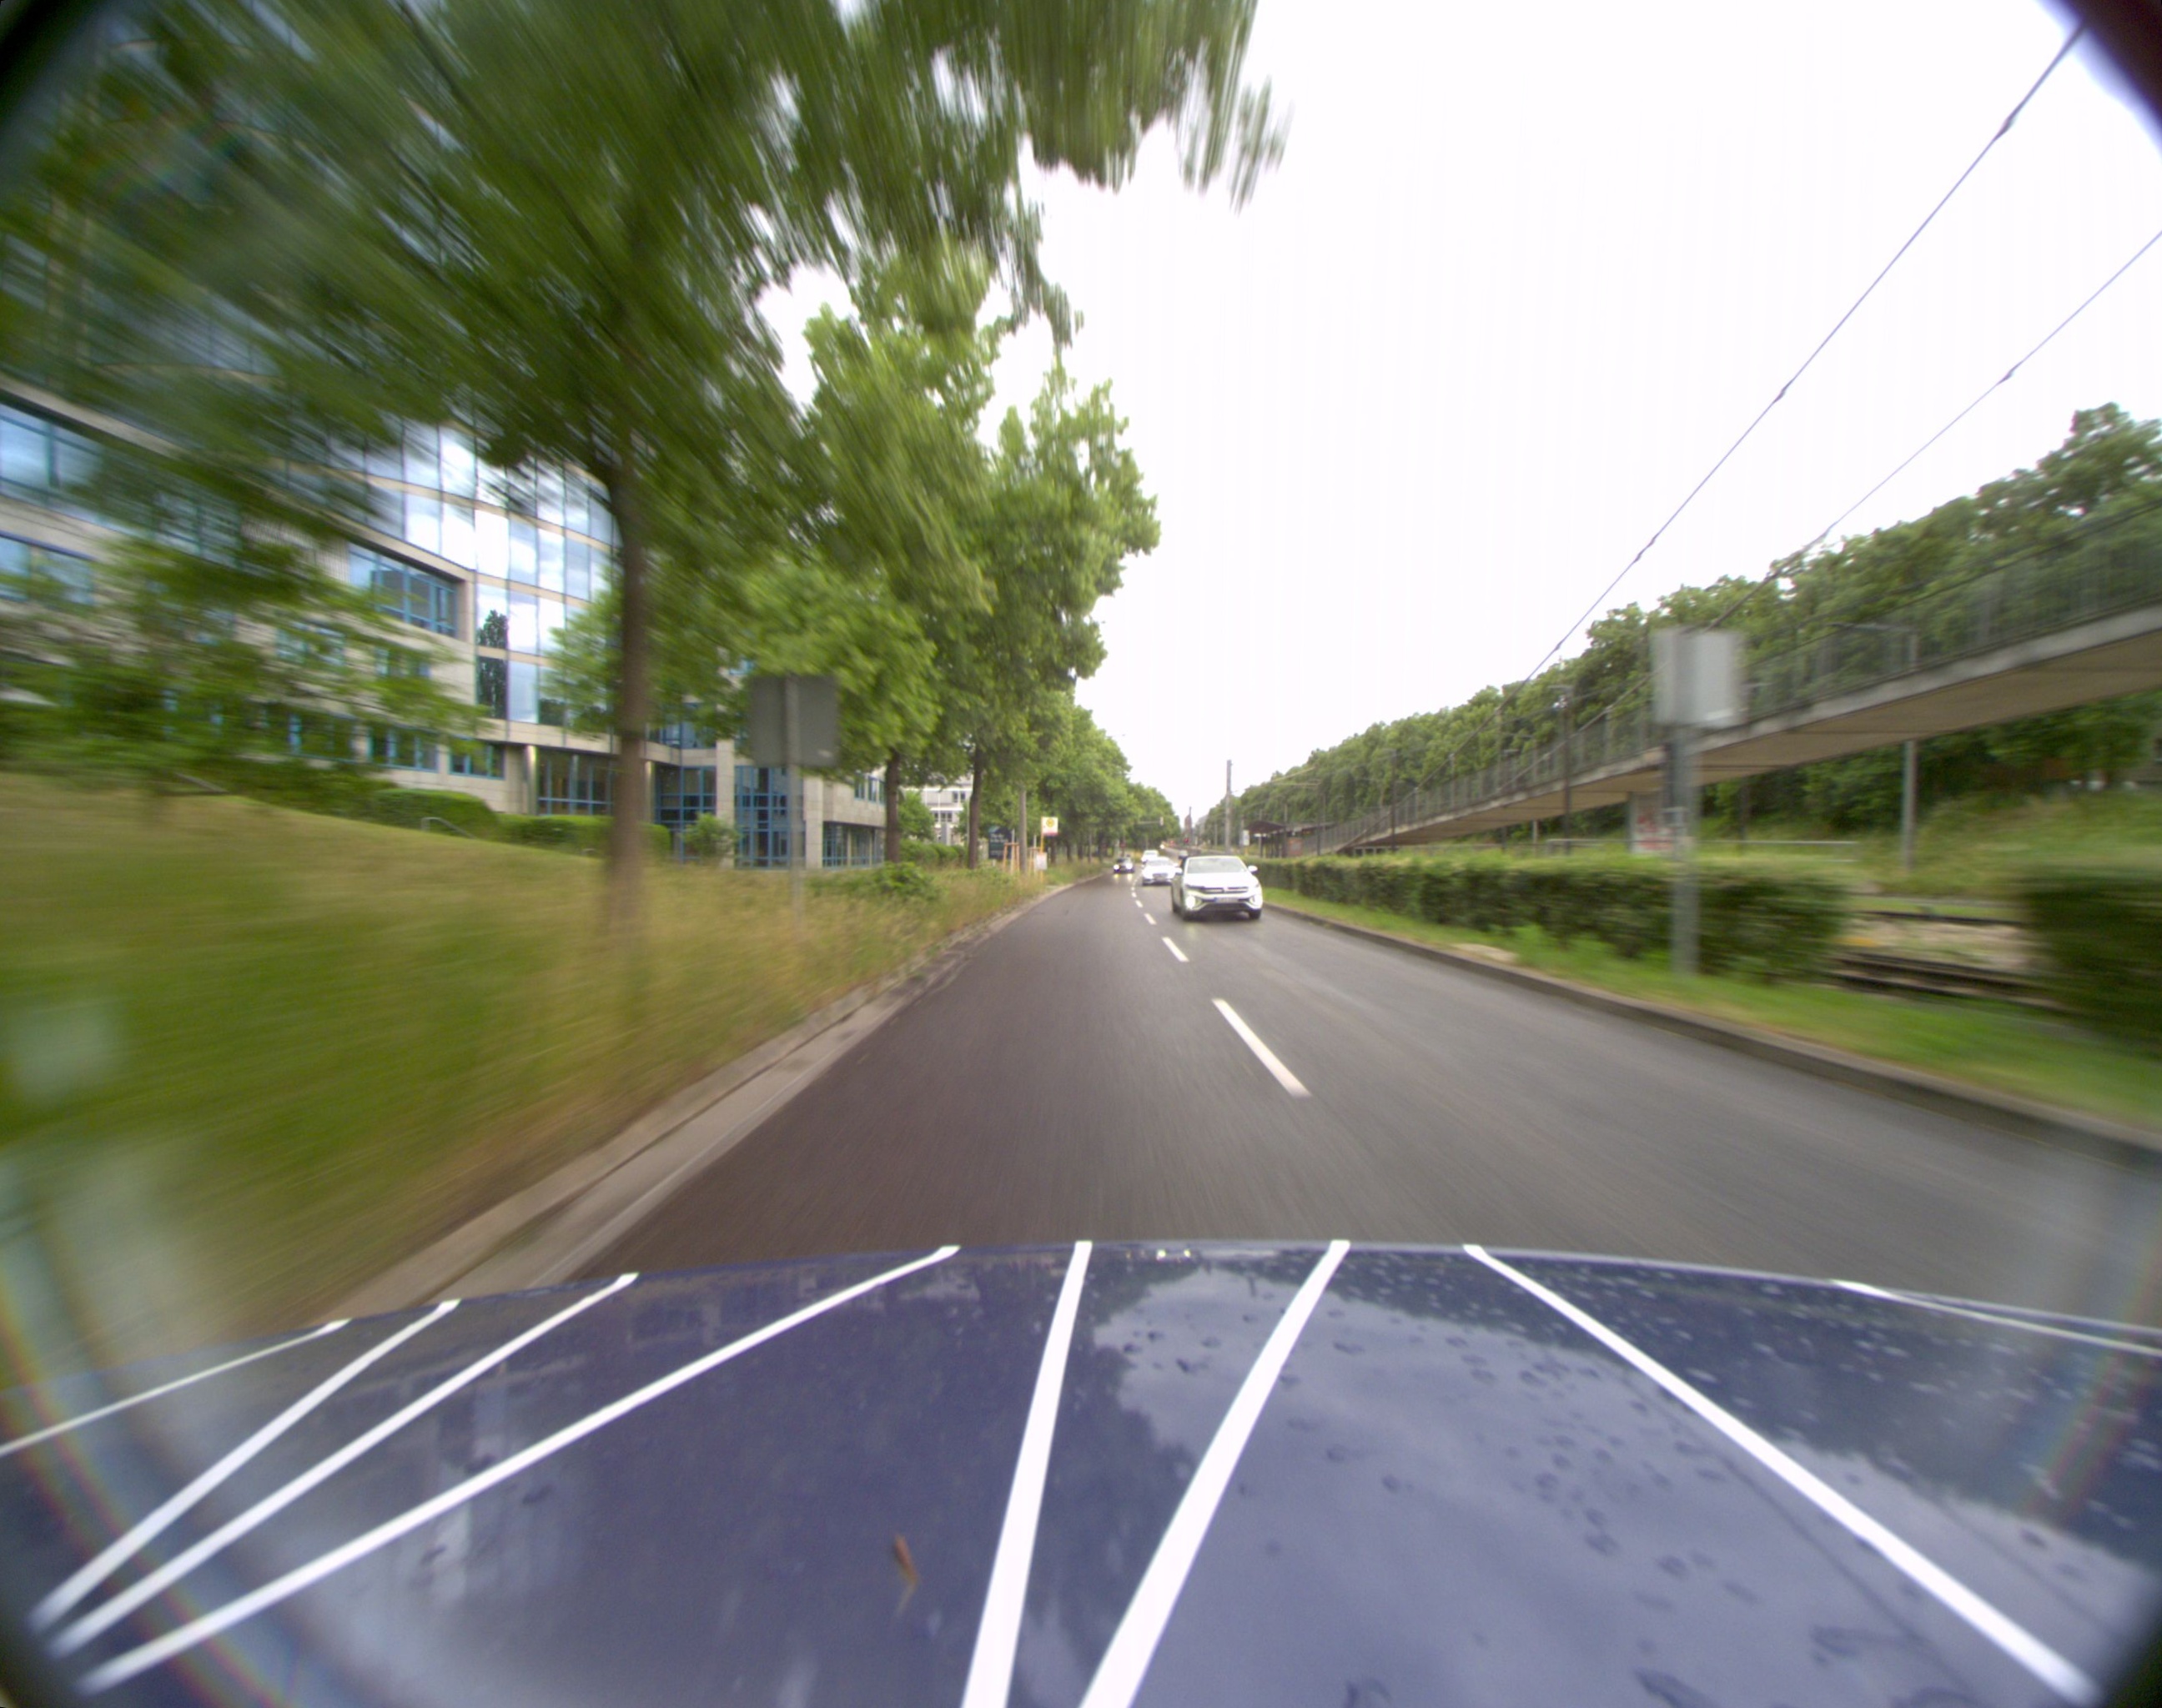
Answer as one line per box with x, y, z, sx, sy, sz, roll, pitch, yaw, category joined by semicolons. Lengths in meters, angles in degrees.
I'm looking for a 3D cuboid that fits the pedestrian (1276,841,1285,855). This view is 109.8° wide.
19.780;-0.623;75.194;0.754;1.348;0.692;0;1;6;pedestrian

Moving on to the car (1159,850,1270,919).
3.181;0.651;19.048;1.960;1.457;4.699;-2;1;1;car

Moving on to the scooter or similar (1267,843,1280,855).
19.975;-0.533;78.934;0.380;1.211;1.297;-4;2;-37;scooter or similar

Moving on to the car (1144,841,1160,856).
9.369;-0.745;100.097;1.959;1.914;4.847;-2;1;6;car

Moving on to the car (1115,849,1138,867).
4.078;0.341;68.389;1.960;1.469;4.700;-2;1;4;car

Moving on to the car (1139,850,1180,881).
4.261;0.575;40.681;1.959;1.472;4.701;-2;1;8;car
